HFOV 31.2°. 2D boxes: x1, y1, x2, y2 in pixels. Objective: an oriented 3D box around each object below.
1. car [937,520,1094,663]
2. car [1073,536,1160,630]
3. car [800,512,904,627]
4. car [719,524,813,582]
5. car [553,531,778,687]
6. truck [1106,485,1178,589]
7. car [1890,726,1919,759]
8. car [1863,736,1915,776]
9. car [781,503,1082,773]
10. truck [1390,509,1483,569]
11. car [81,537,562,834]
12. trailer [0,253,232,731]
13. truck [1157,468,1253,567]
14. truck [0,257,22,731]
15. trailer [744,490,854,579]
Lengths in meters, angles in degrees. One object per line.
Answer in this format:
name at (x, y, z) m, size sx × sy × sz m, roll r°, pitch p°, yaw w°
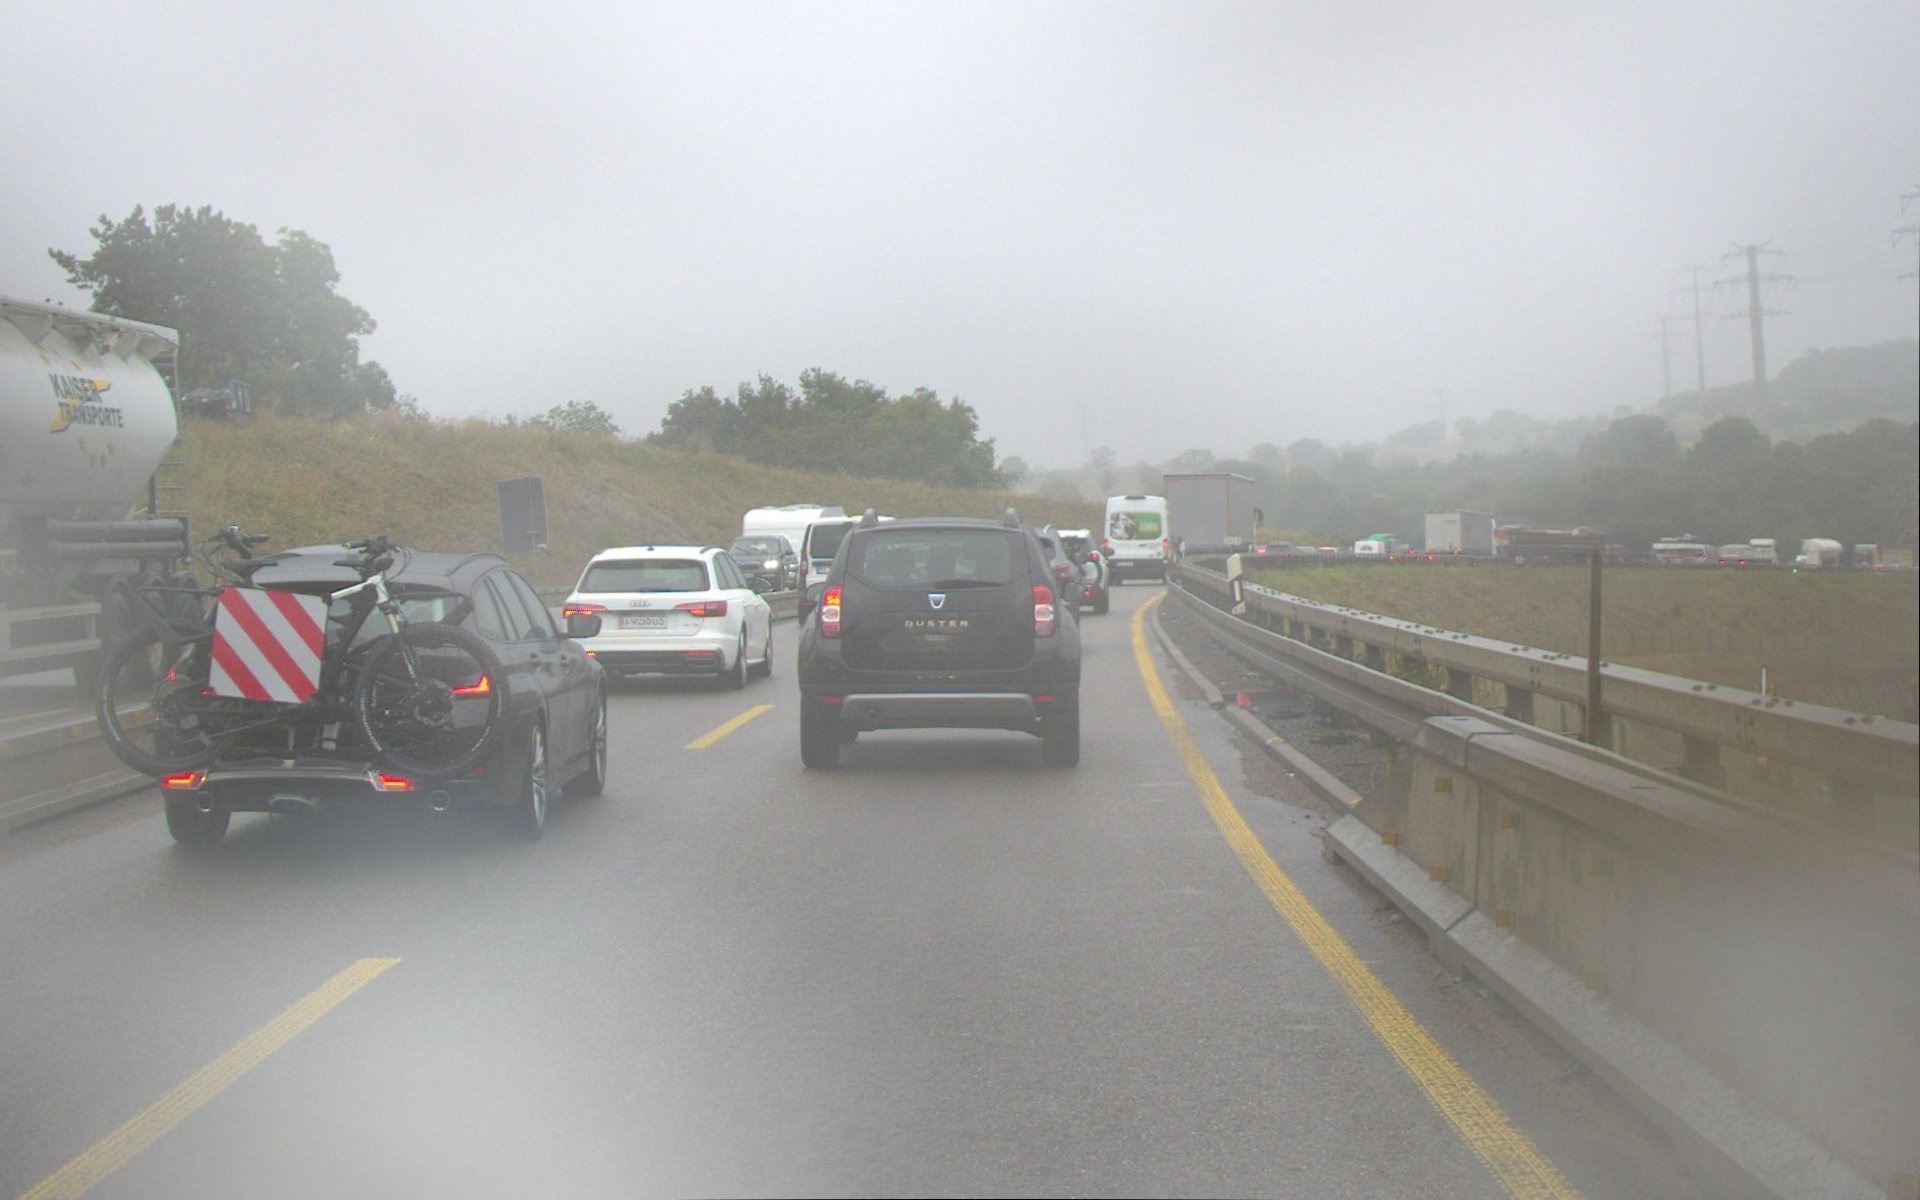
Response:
car at (0.675, -0.136, 43.107) m, size 1.867 × 1.702 × 4.000 m, roll 0°, pitch 1°, yaw 0°
car at (2.845, -0.335, 62.772) m, size 1.530 × 1.635 × 4.013 m, roll 0°, pitch 1°, yaw 2°
car at (-1.798, -0.538, 58.451) m, size 1.660 × 1.873 × 4.020 m, roll 0°, pitch 1°, yaw 0°
car at (-5.404, -1.337, 96.411) m, size 1.994 × 1.581 × 5.119 m, roll 0°, pitch 1°, yaw 4°
car at (-2.893, 0.043, 34.593) m, size 1.867 × 1.455 × 4.549 m, roll 0°, pitch 1°, yaw 0°
truck at (5.713, -1.994, 108.315) m, size 2.149 × 3.155 × 6.459 m, roll 0°, pitch 1°, yaw 2°
car at (58.142, 8.738, 210.567) m, size 1.994 × 1.809 × 3.998 m, roll 0°, pitch 1°, yaw 11°
car at (52.696, 8.828, 195.094) m, size 2.366 × 2.007 × 3.999 m, roll 1°, pitch 1°, yaw 9°
car at (-0.108, 0.210, 23.008) m, size 1.804 × 1.640 × 3.776 m, roll -1°, pitch 1°, yaw 3°
truck at (33.927, -4.330, 244.061) m, size 4.720 × 4.135 × 15.672 m, roll 1°, pitch 1°, yaw 15°
car at (-3.420, 0.409, 19.119) m, size 1.829 × 1.471 × 3.776 m, roll -1°, pitch 1°, yaw 2°
trailer at (-9.526, -0.911, 31.159) m, size 3.255 × 3.950 × 11.537 m, roll -1°, pitch 1°, yaw 1°
truck at (9.705, -3.209, 135.353) m, size 3.201 × 3.748 × 8.507 m, roll 1°, pitch 1°, yaw 8°
truck at (-9.598, -0.829, 26.178) m, size 3.231 × 3.942 × 5.881 m, roll -1°, pitch 1°, yaw 0°
trailer at (-4.752, -1.967, 102.541) m, size 2.510 × 2.556 × 7.162 m, roll 0°, pitch 1°, yaw 3°
